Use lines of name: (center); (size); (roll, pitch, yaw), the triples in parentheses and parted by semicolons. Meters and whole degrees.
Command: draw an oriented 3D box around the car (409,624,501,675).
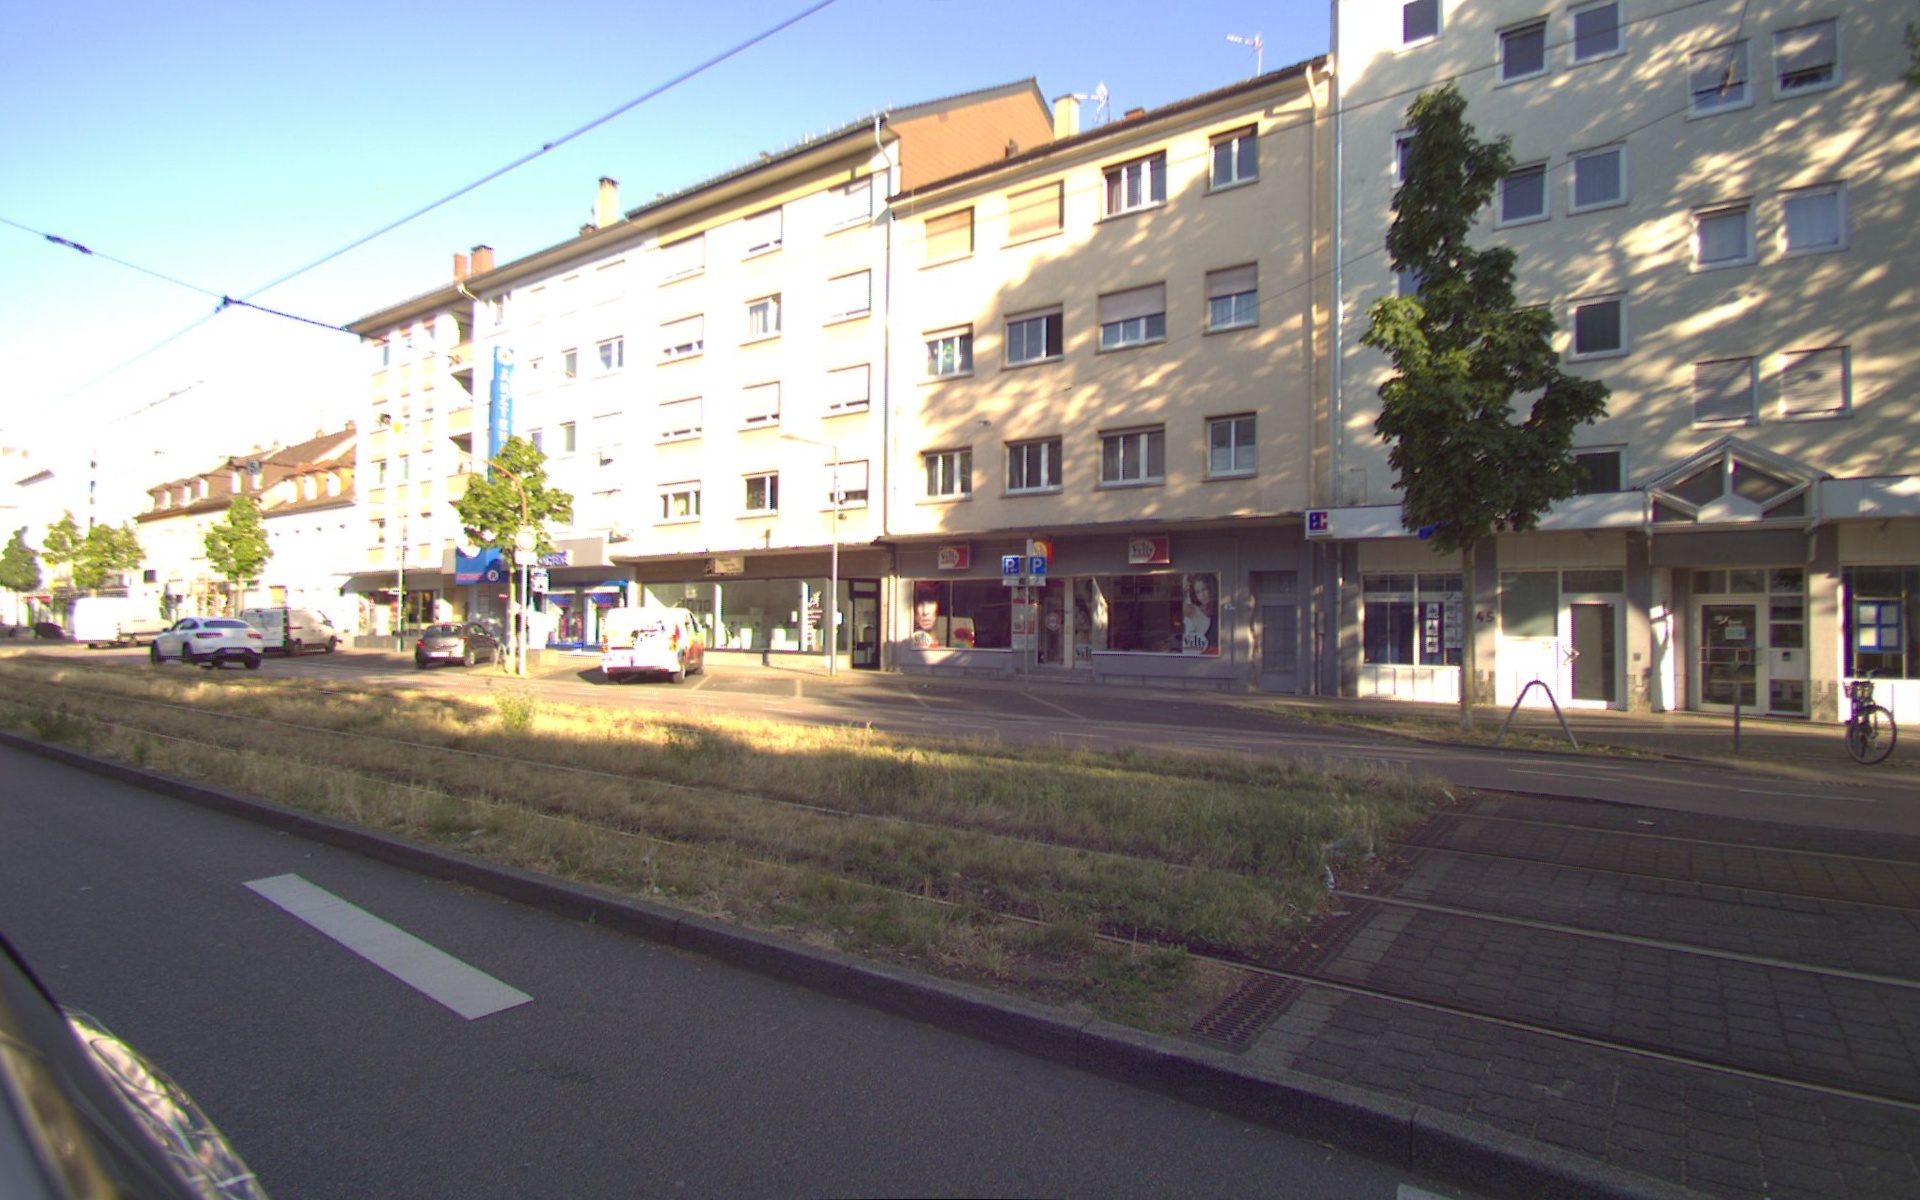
car: (-16.677, 1.593, 33.621); (1.708, 1.508, 4.009); (0, -1, -10)

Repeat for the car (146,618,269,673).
car: (-23.523, 1.376, 31.586); (4.441, 1.592, 1.824); (-1, -2, 36)

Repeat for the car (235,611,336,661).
car: (-27.844, 1.431, 41.943); (1.828, 1.952, 4.514); (0, -1, -10)

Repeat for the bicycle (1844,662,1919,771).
bicycle: (11.148, 1.365, 12.242); (0.511, 1.147, 1.724); (-1, -1, 36)

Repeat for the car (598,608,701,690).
car: (-7.980, 1.200, 26.366); (1.830, 1.913, 4.005); (0, 0, -6)

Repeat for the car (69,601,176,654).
car: (-44.585, 1.402, 54.122); (1.895, 2.634, 6.608); (0, -1, -16)

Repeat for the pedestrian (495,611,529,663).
pedestrian: (-16.170, 1.332, 36.518); (0.915, 1.841, 0.748); (-1, -1, 37)

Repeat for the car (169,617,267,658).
car: (-33.495, 1.654, 45.827); (1.830, 1.727, 3.919); (0, -1, -5)
